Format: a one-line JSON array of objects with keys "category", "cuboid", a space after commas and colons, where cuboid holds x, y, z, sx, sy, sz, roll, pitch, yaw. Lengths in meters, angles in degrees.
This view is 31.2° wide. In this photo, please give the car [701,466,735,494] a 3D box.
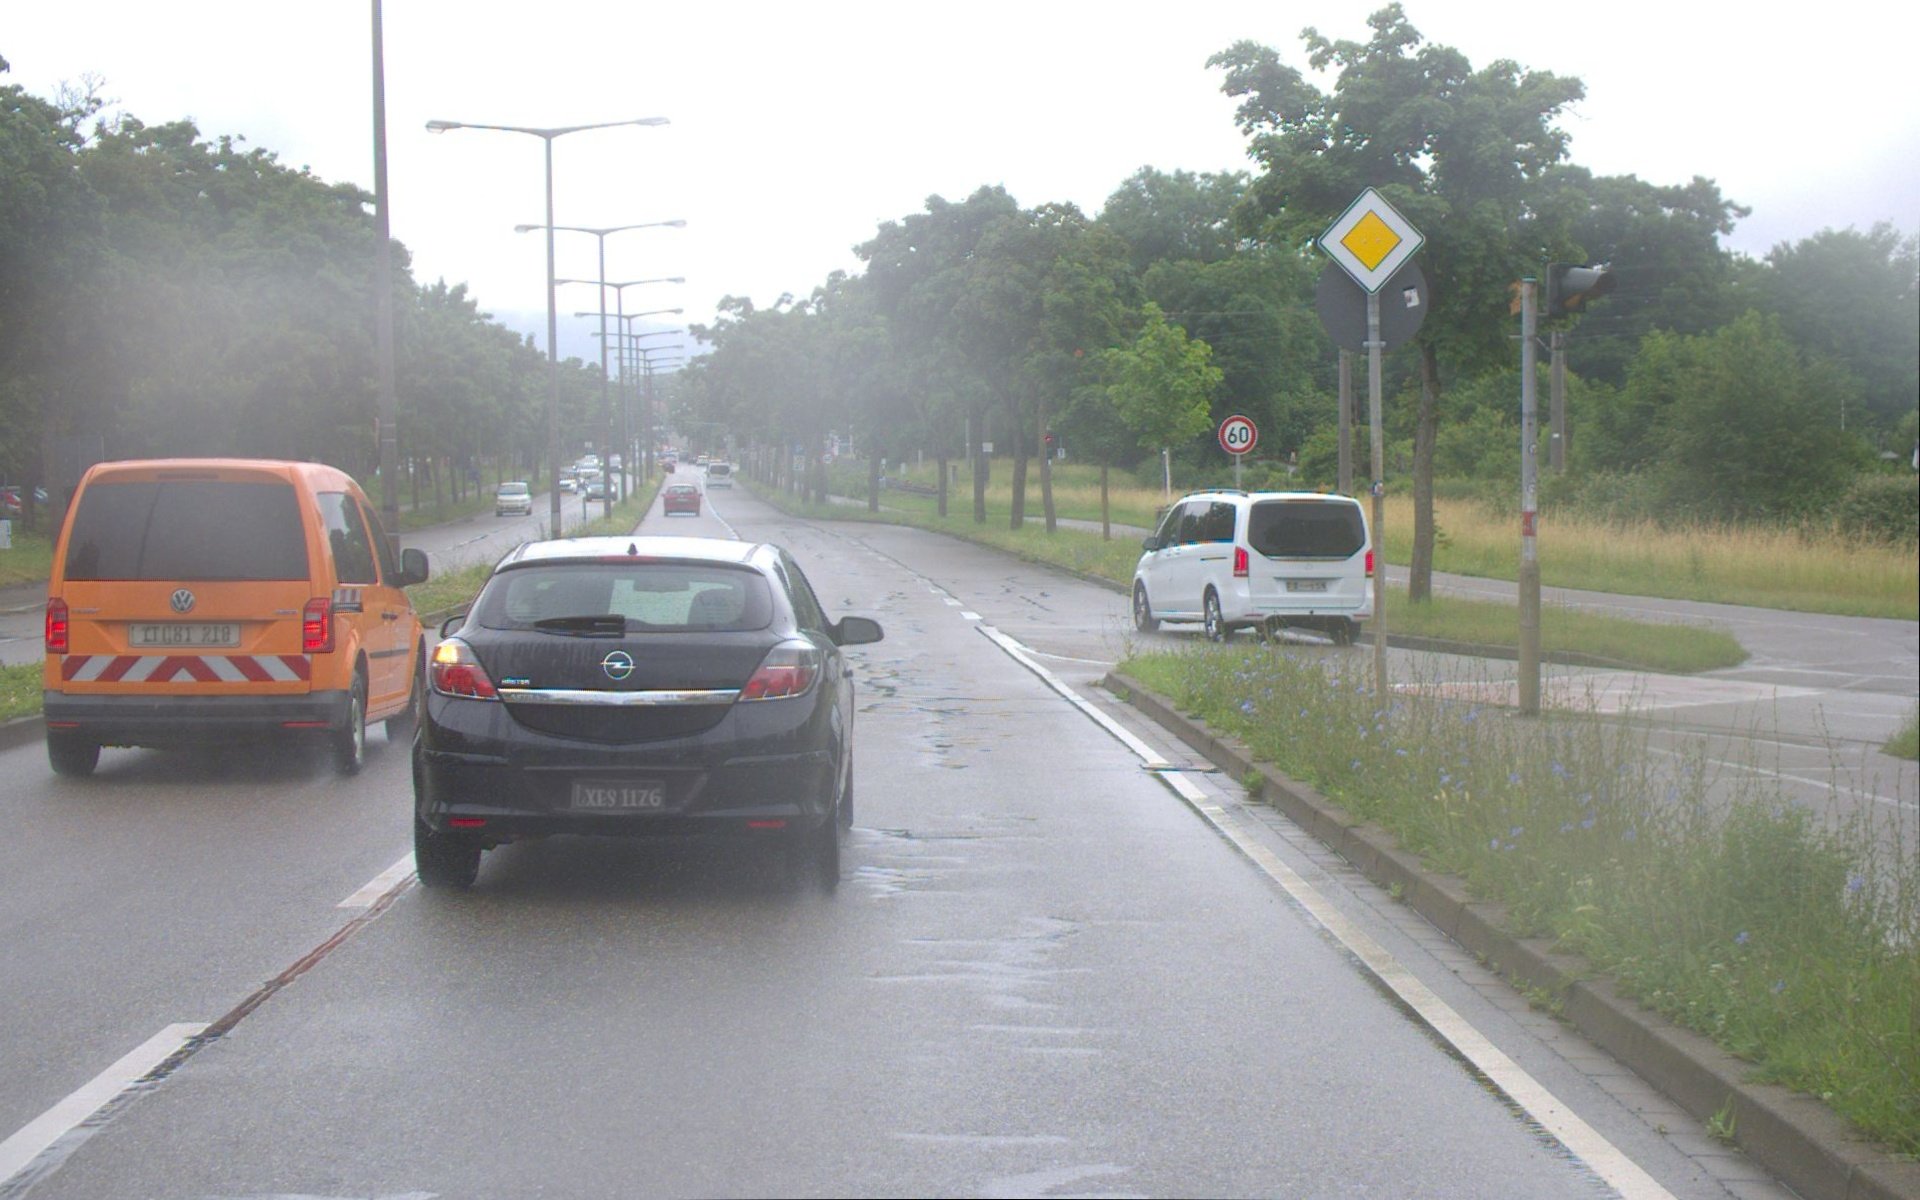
[{"category": "car", "cuboid": [-18.347, -9.068, 260.549, 2.516, 2.045, 5.294, -1, 1, -4]}]

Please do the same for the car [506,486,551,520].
[{"category": "car", "cuboid": [-20.269, -4.561, 161.681, 1.683, 1.548, 4.001, 1, 1, -1]}]

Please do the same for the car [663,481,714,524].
[{"category": "car", "cuboid": [-12.226, -4.384, 155.204, 1.993, 1.873, 4.000, 1, 1, 0]}]

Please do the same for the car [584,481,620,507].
[{"category": "car", "cuboid": [-20.952, -6.213, 201.323, 1.827, 1.445, 3.810, 0, 2, -3]}]

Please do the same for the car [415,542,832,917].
[{"category": "car", "cuboid": [-1.345, 0.459, 14.886, 1.463, 1.324, 3.758, 0, 2, -1]}]

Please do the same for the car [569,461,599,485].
[{"category": "car", "cuboid": [-25.234, -8.510, 230.882, 1.720, 1.524, 3.810, 0, 3, -3]}]

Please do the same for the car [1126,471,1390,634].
[{"category": "car", "cuboid": [3.757, -0.632, 44.243, 2.058, 1.968, 4.610, 0, 1, -13]}]

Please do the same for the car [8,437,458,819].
[{"category": "car", "cuboid": [-4.266, 0.087, 20.919, 1.734, 2.012, 4.850, 1, 2, -1]}]
